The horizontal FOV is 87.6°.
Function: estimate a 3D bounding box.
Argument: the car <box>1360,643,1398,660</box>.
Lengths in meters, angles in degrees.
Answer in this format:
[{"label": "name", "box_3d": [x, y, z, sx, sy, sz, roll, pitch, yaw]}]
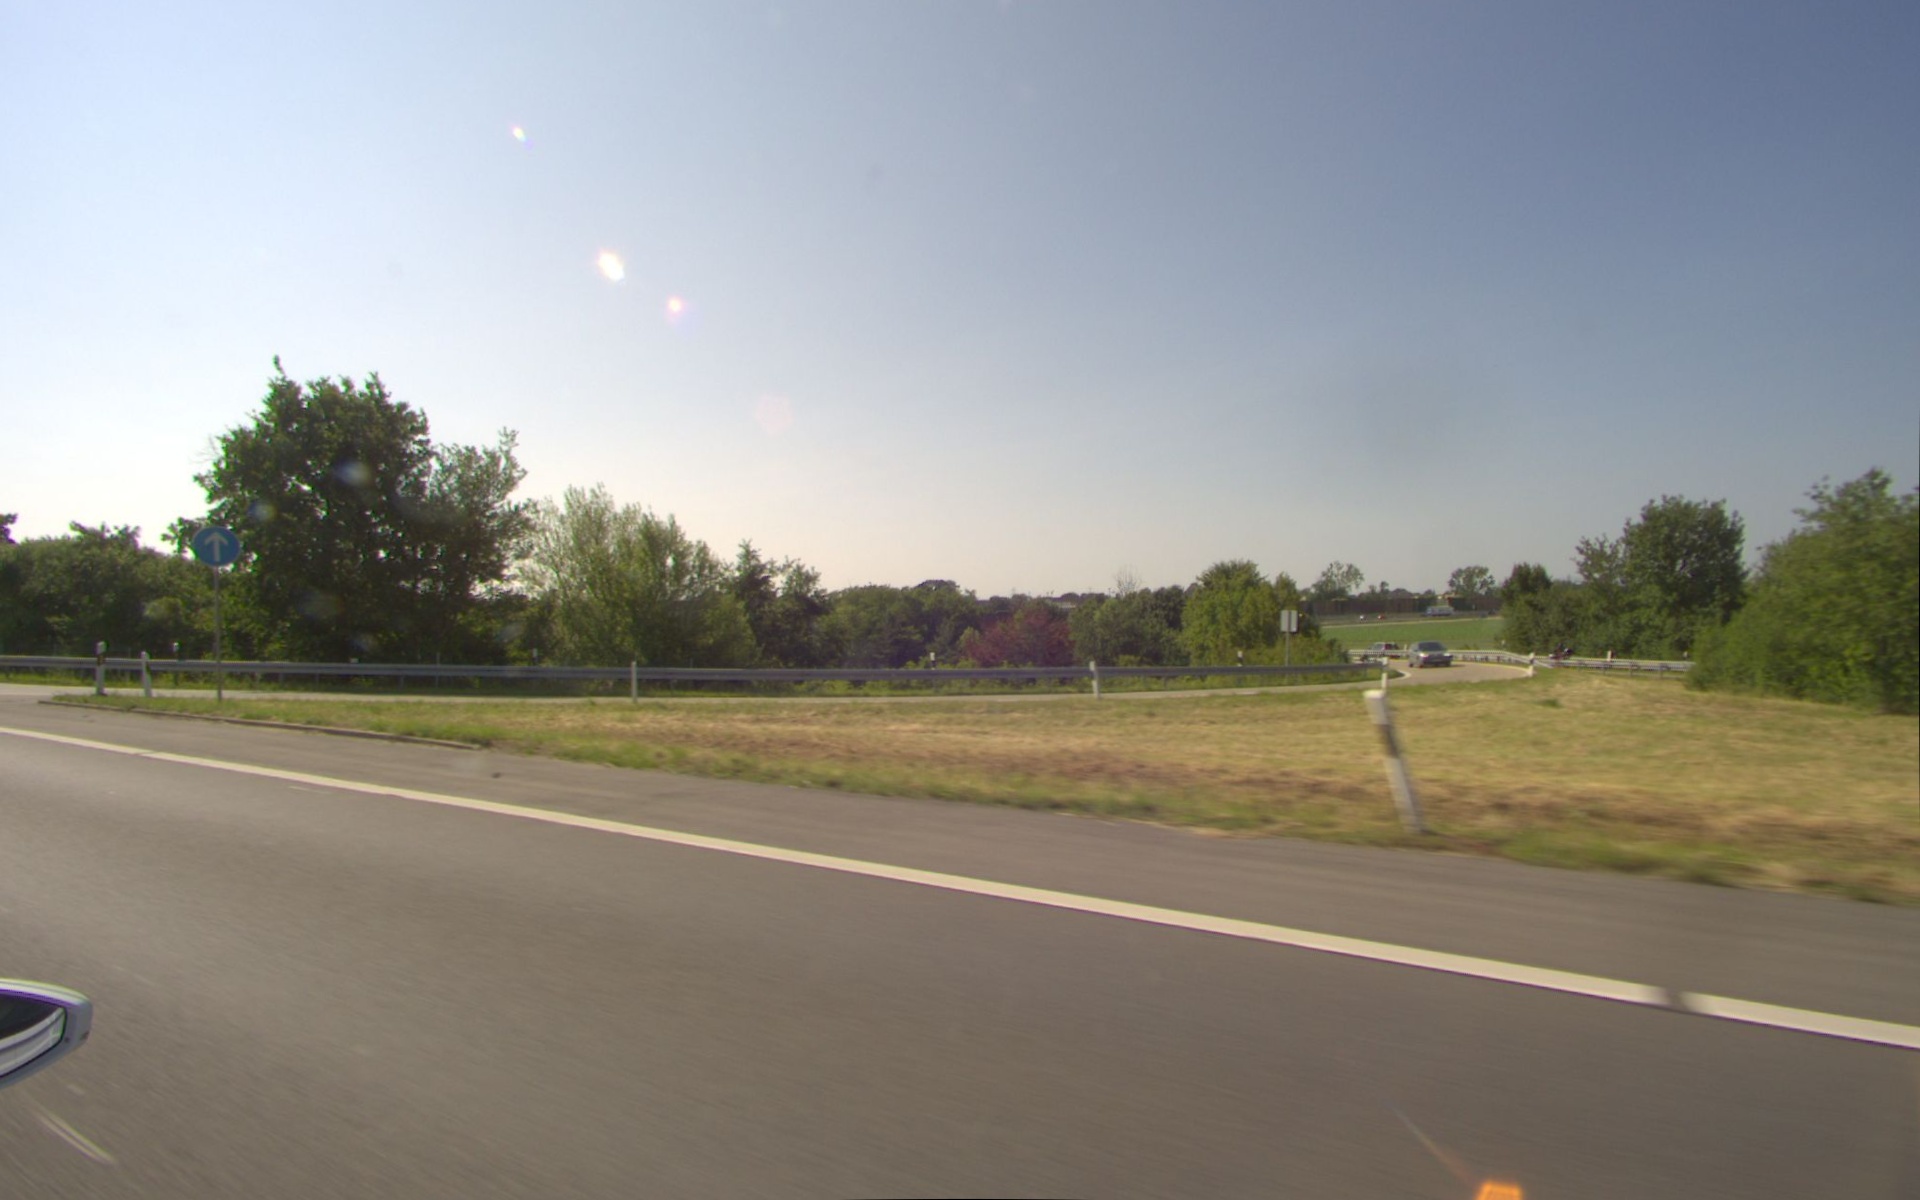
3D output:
[{"label": "car", "box_3d": [37.462, 4.571, 89.527, 1.612, 1.447, 3.537, 0, -2, -7]}]

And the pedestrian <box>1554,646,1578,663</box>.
[{"label": "pedestrian", "box_3d": [38.421, 3.457, 63.493, 0.677, 1.058, 1.136, 0, -2, -10]}]

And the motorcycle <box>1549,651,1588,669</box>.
[{"label": "motorcycle", "box_3d": [38.478, 3.770, 63.382, 0.677, 1.057, 2.375, 0, -2, -11]}]

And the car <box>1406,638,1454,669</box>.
[{"label": "car", "box_3d": [28.334, 3.219, 60.523, 1.832, 1.686, 3.997, -4, -2, 15]}]
